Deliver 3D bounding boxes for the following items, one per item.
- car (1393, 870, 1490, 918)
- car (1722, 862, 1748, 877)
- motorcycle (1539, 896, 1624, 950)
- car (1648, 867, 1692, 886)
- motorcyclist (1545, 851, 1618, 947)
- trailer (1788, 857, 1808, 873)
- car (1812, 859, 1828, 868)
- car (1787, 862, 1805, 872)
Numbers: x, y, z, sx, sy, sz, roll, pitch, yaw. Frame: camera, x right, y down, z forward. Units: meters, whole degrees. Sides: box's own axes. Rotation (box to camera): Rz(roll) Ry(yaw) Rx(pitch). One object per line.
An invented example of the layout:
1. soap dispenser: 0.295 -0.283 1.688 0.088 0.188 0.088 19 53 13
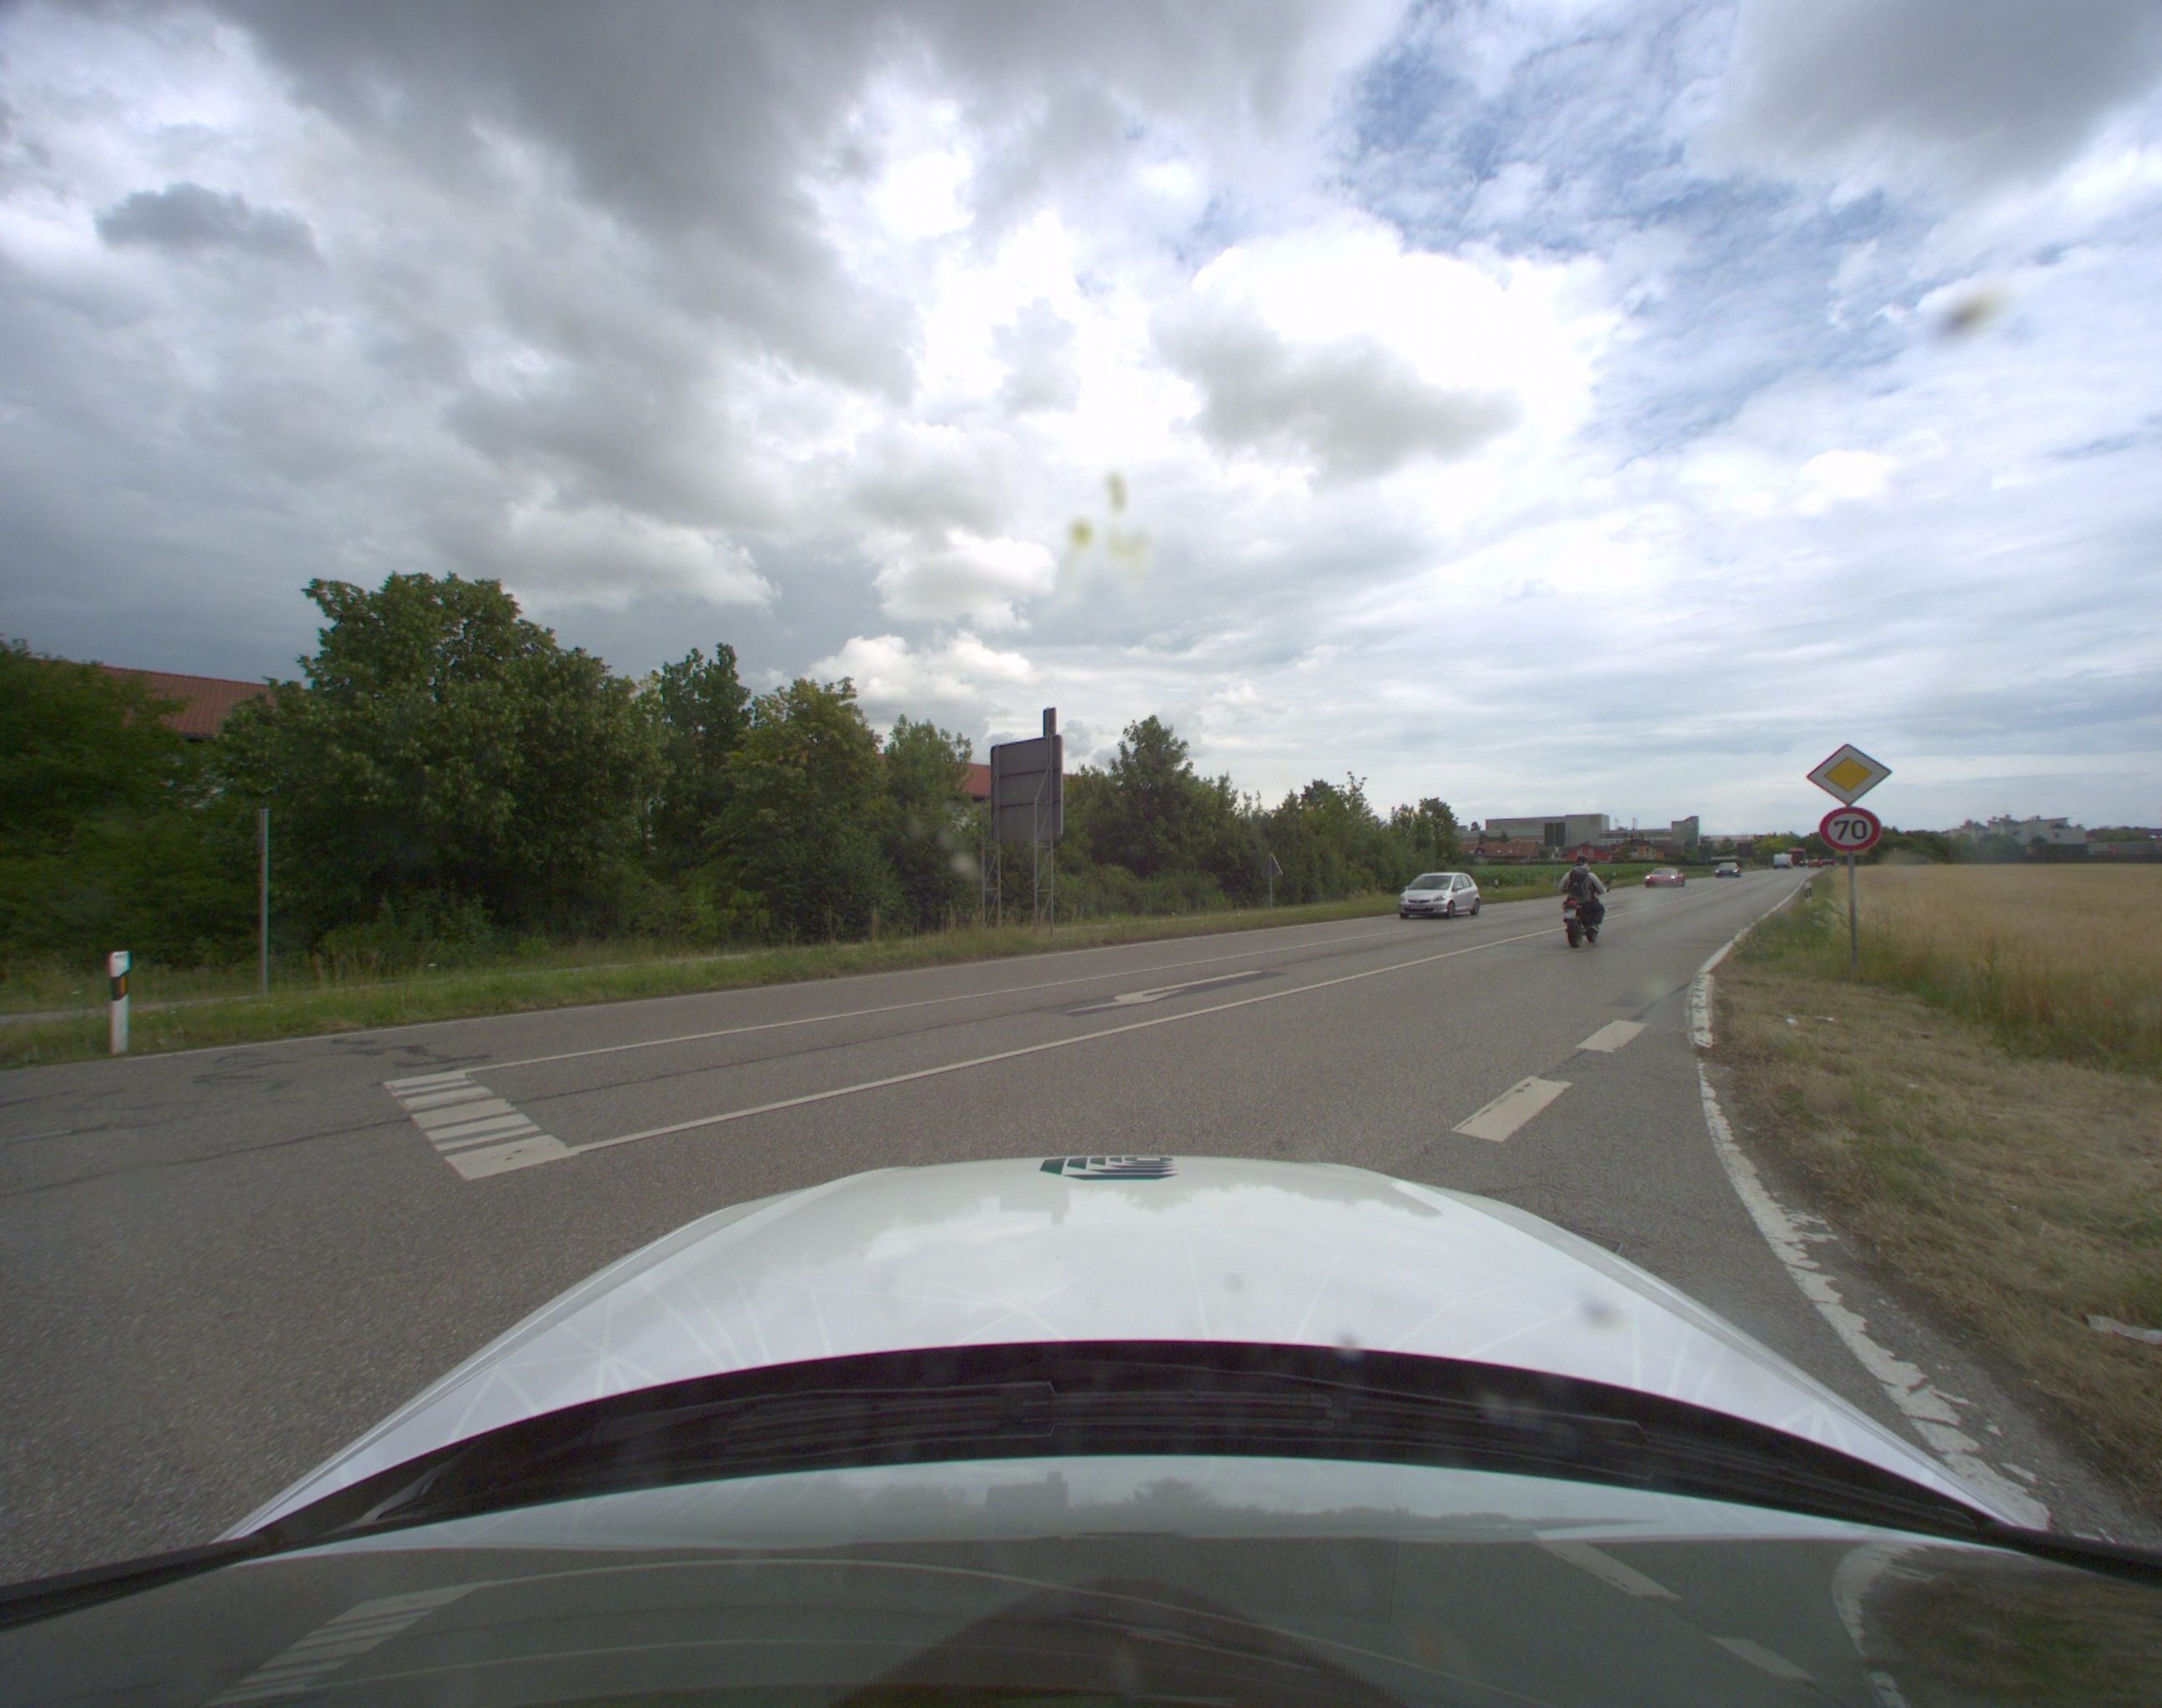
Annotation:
1. car: 12.178 1.312 27.387 1.713 1.432 3.958 -4 -3 43
2. car: 65.513 1.581 81.581 1.653 1.429 4.328 -4 -3 43
3. motorcycle: 9.628 1.284 15.632 0.932 0.890 2.158 -2 -2 44
4. car: 39.808 1.519 55.010 1.755 1.241 4.236 -2 -2 44
5. motorcyclist: 9.630 0.838 15.662 0.932 1.750 1.207 -2 -2 44
6. trailer: 127.562 1.898 144.840 2.303 2.729 7.888 -2 -2 44
7. car: 136.328 1.727 150.153 4.023 1.566 1.841 0 -1 -44
8. car: 123.400 2.305 140.534 1.975 1.699 4.703 -2 -2 44
